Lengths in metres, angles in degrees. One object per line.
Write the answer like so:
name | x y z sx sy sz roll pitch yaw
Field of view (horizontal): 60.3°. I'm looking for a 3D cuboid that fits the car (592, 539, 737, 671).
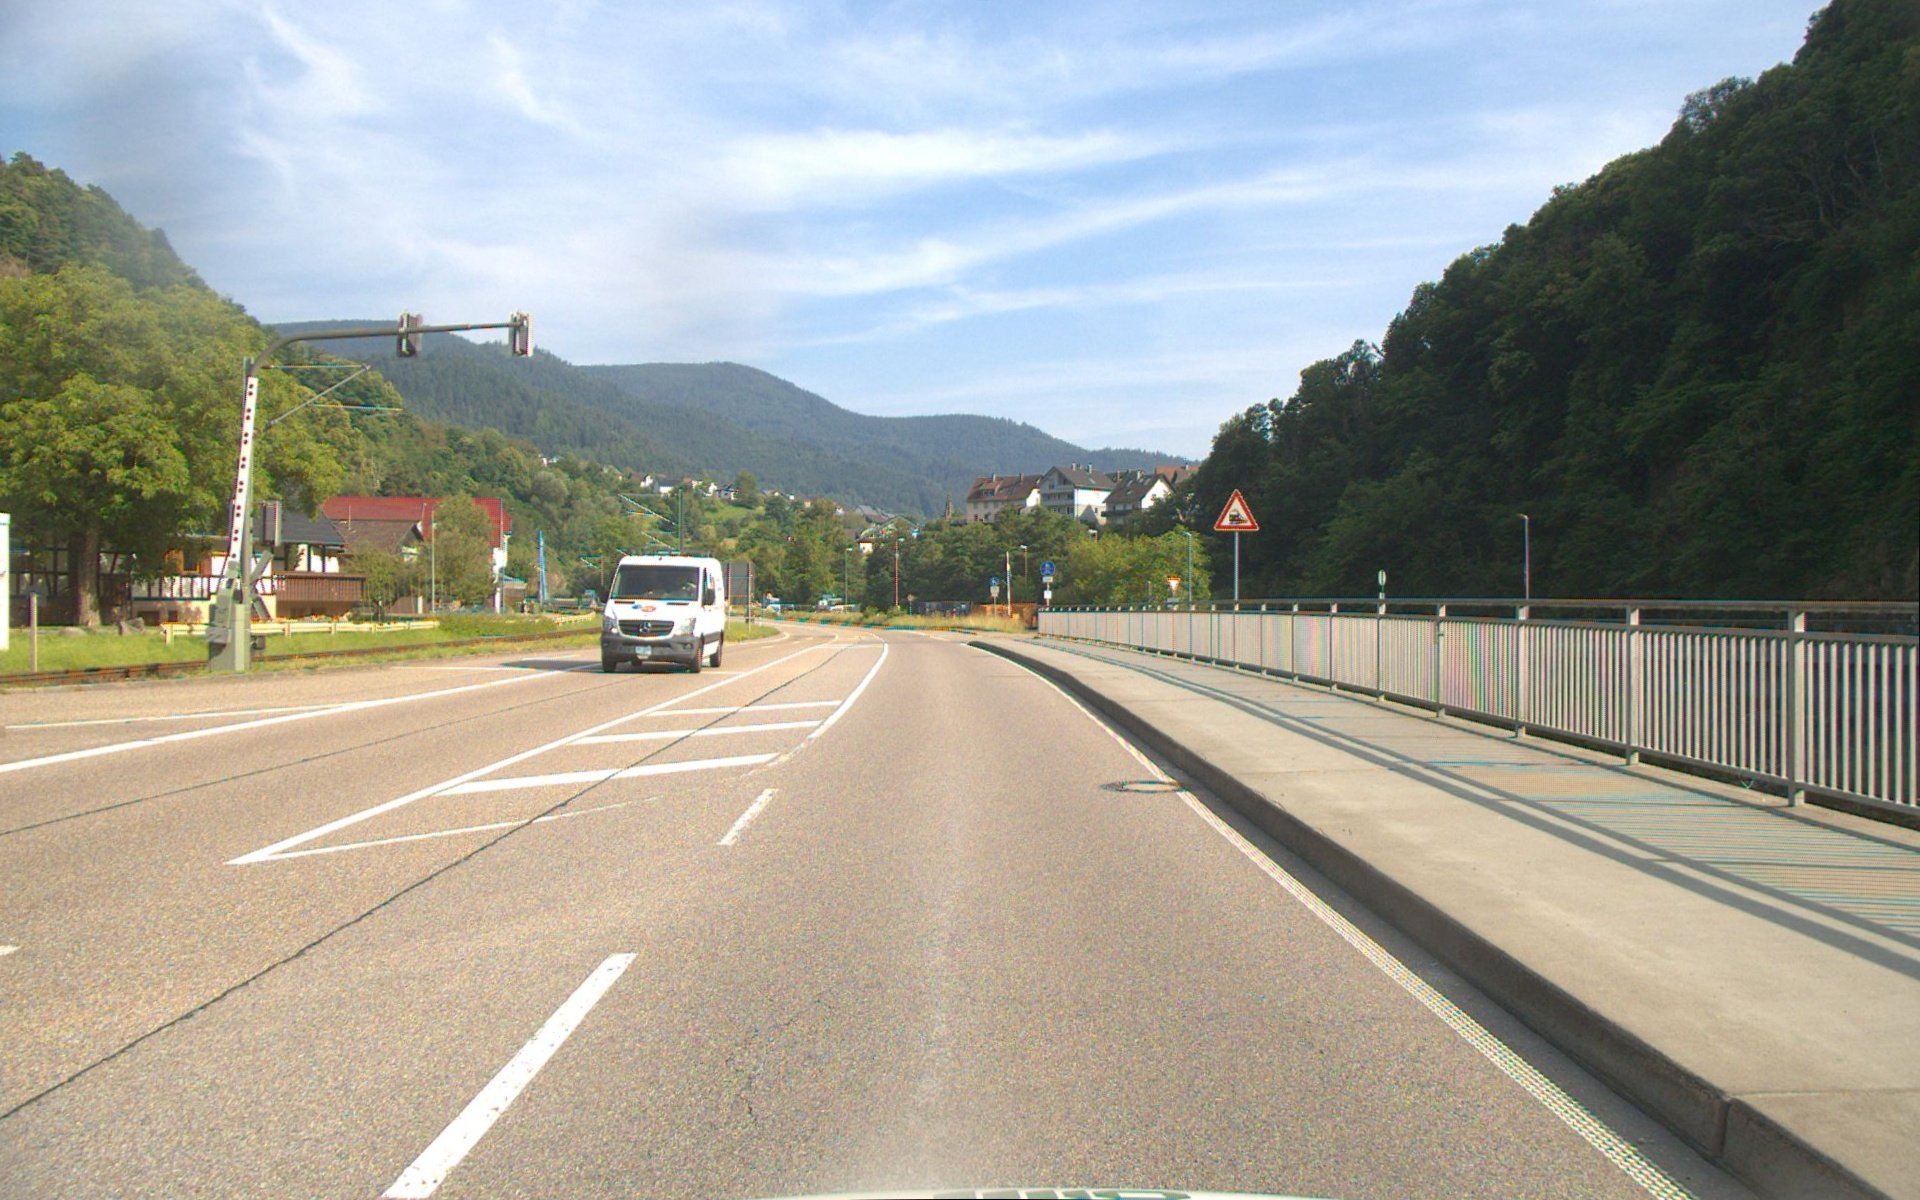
car | -6.012 0.095 34.255 2.076 2.479 5.227 1 0 -1
